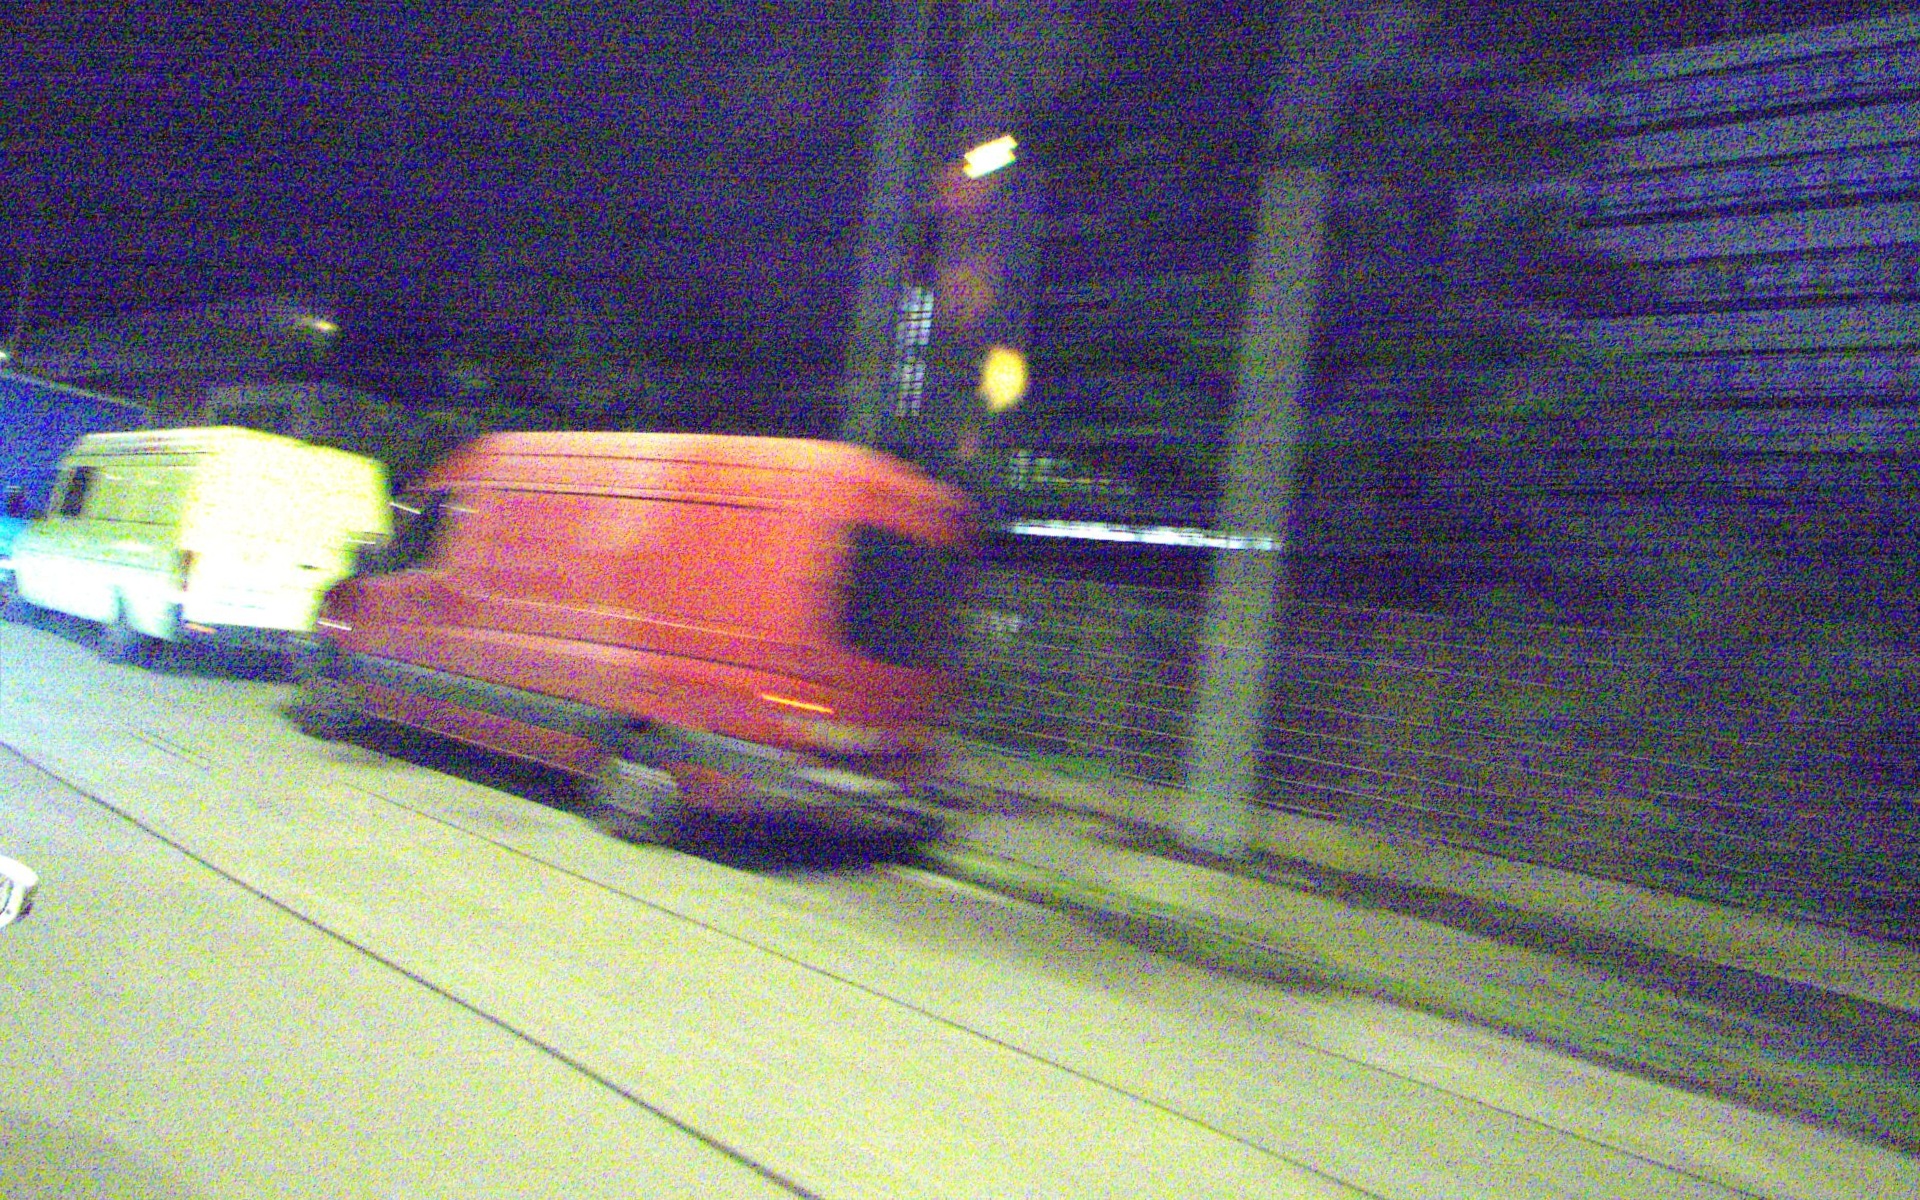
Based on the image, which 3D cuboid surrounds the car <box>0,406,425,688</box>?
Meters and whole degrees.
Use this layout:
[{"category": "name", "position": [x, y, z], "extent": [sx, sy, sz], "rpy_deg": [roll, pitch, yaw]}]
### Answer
[{"category": "car", "position": [-9.248, -0.744, 12.004], "extent": [6.539, 2.577, 1.944], "rpy_deg": [7, -2, 34]}]

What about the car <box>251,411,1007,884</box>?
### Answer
[{"category": "car", "position": [-2.843, 0.071, 7.878], "extent": [5.925, 2.577, 1.998], "rpy_deg": [7, -2, 31]}]

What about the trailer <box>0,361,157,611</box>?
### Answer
[{"category": "trailer", "position": [-15.224, -1.841, 15.801], "extent": [4.289, 3.364, 2.403], "rpy_deg": [7, -1, 30]}]
